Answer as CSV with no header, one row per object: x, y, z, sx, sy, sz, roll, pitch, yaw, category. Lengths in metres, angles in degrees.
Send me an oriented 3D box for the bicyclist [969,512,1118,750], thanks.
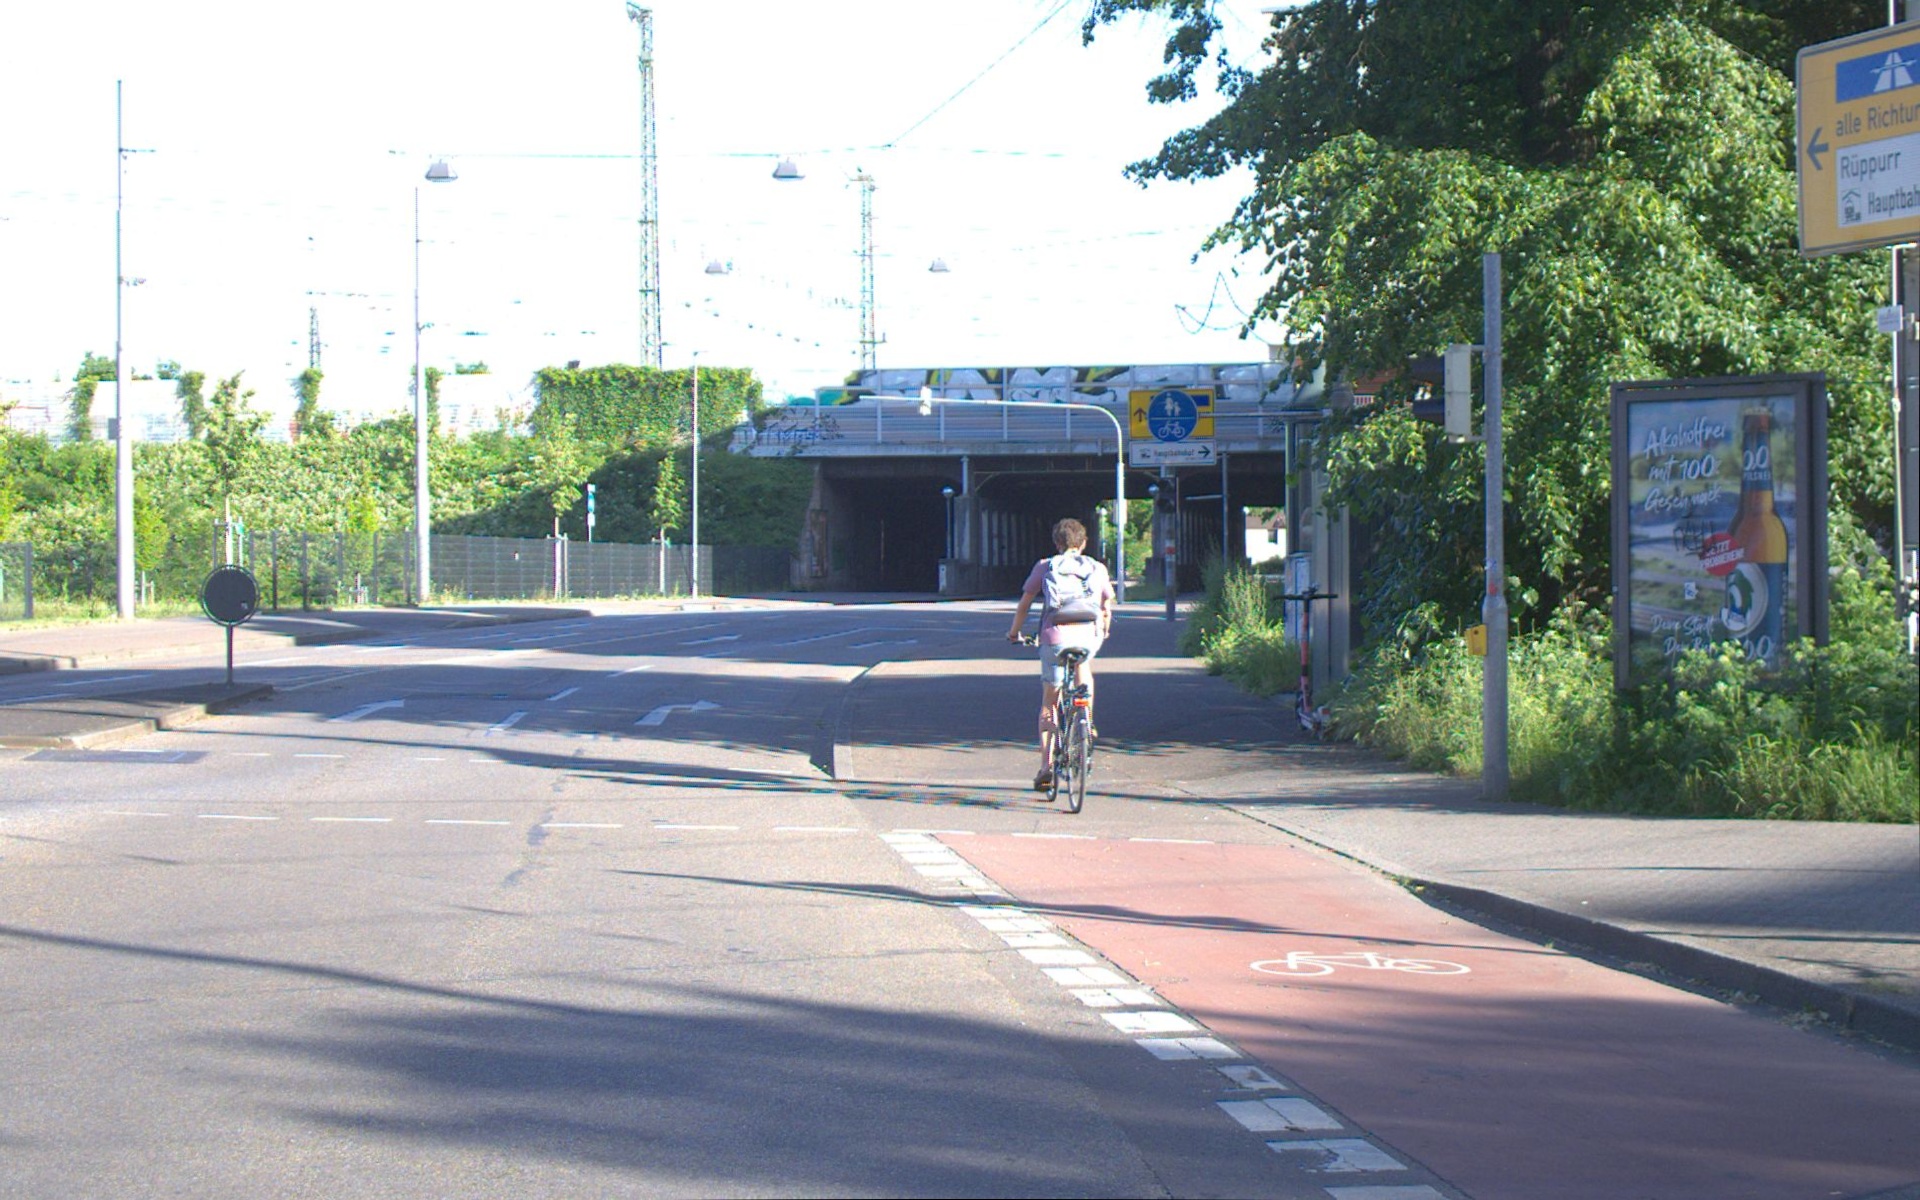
0.531,0.183,22.400,0.840,1.504,1.369,0,1,-4,bicyclist

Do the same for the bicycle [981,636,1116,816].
0.558,0.798,22.468,0.667,1.056,2.082,0,1,-4,bicycle
